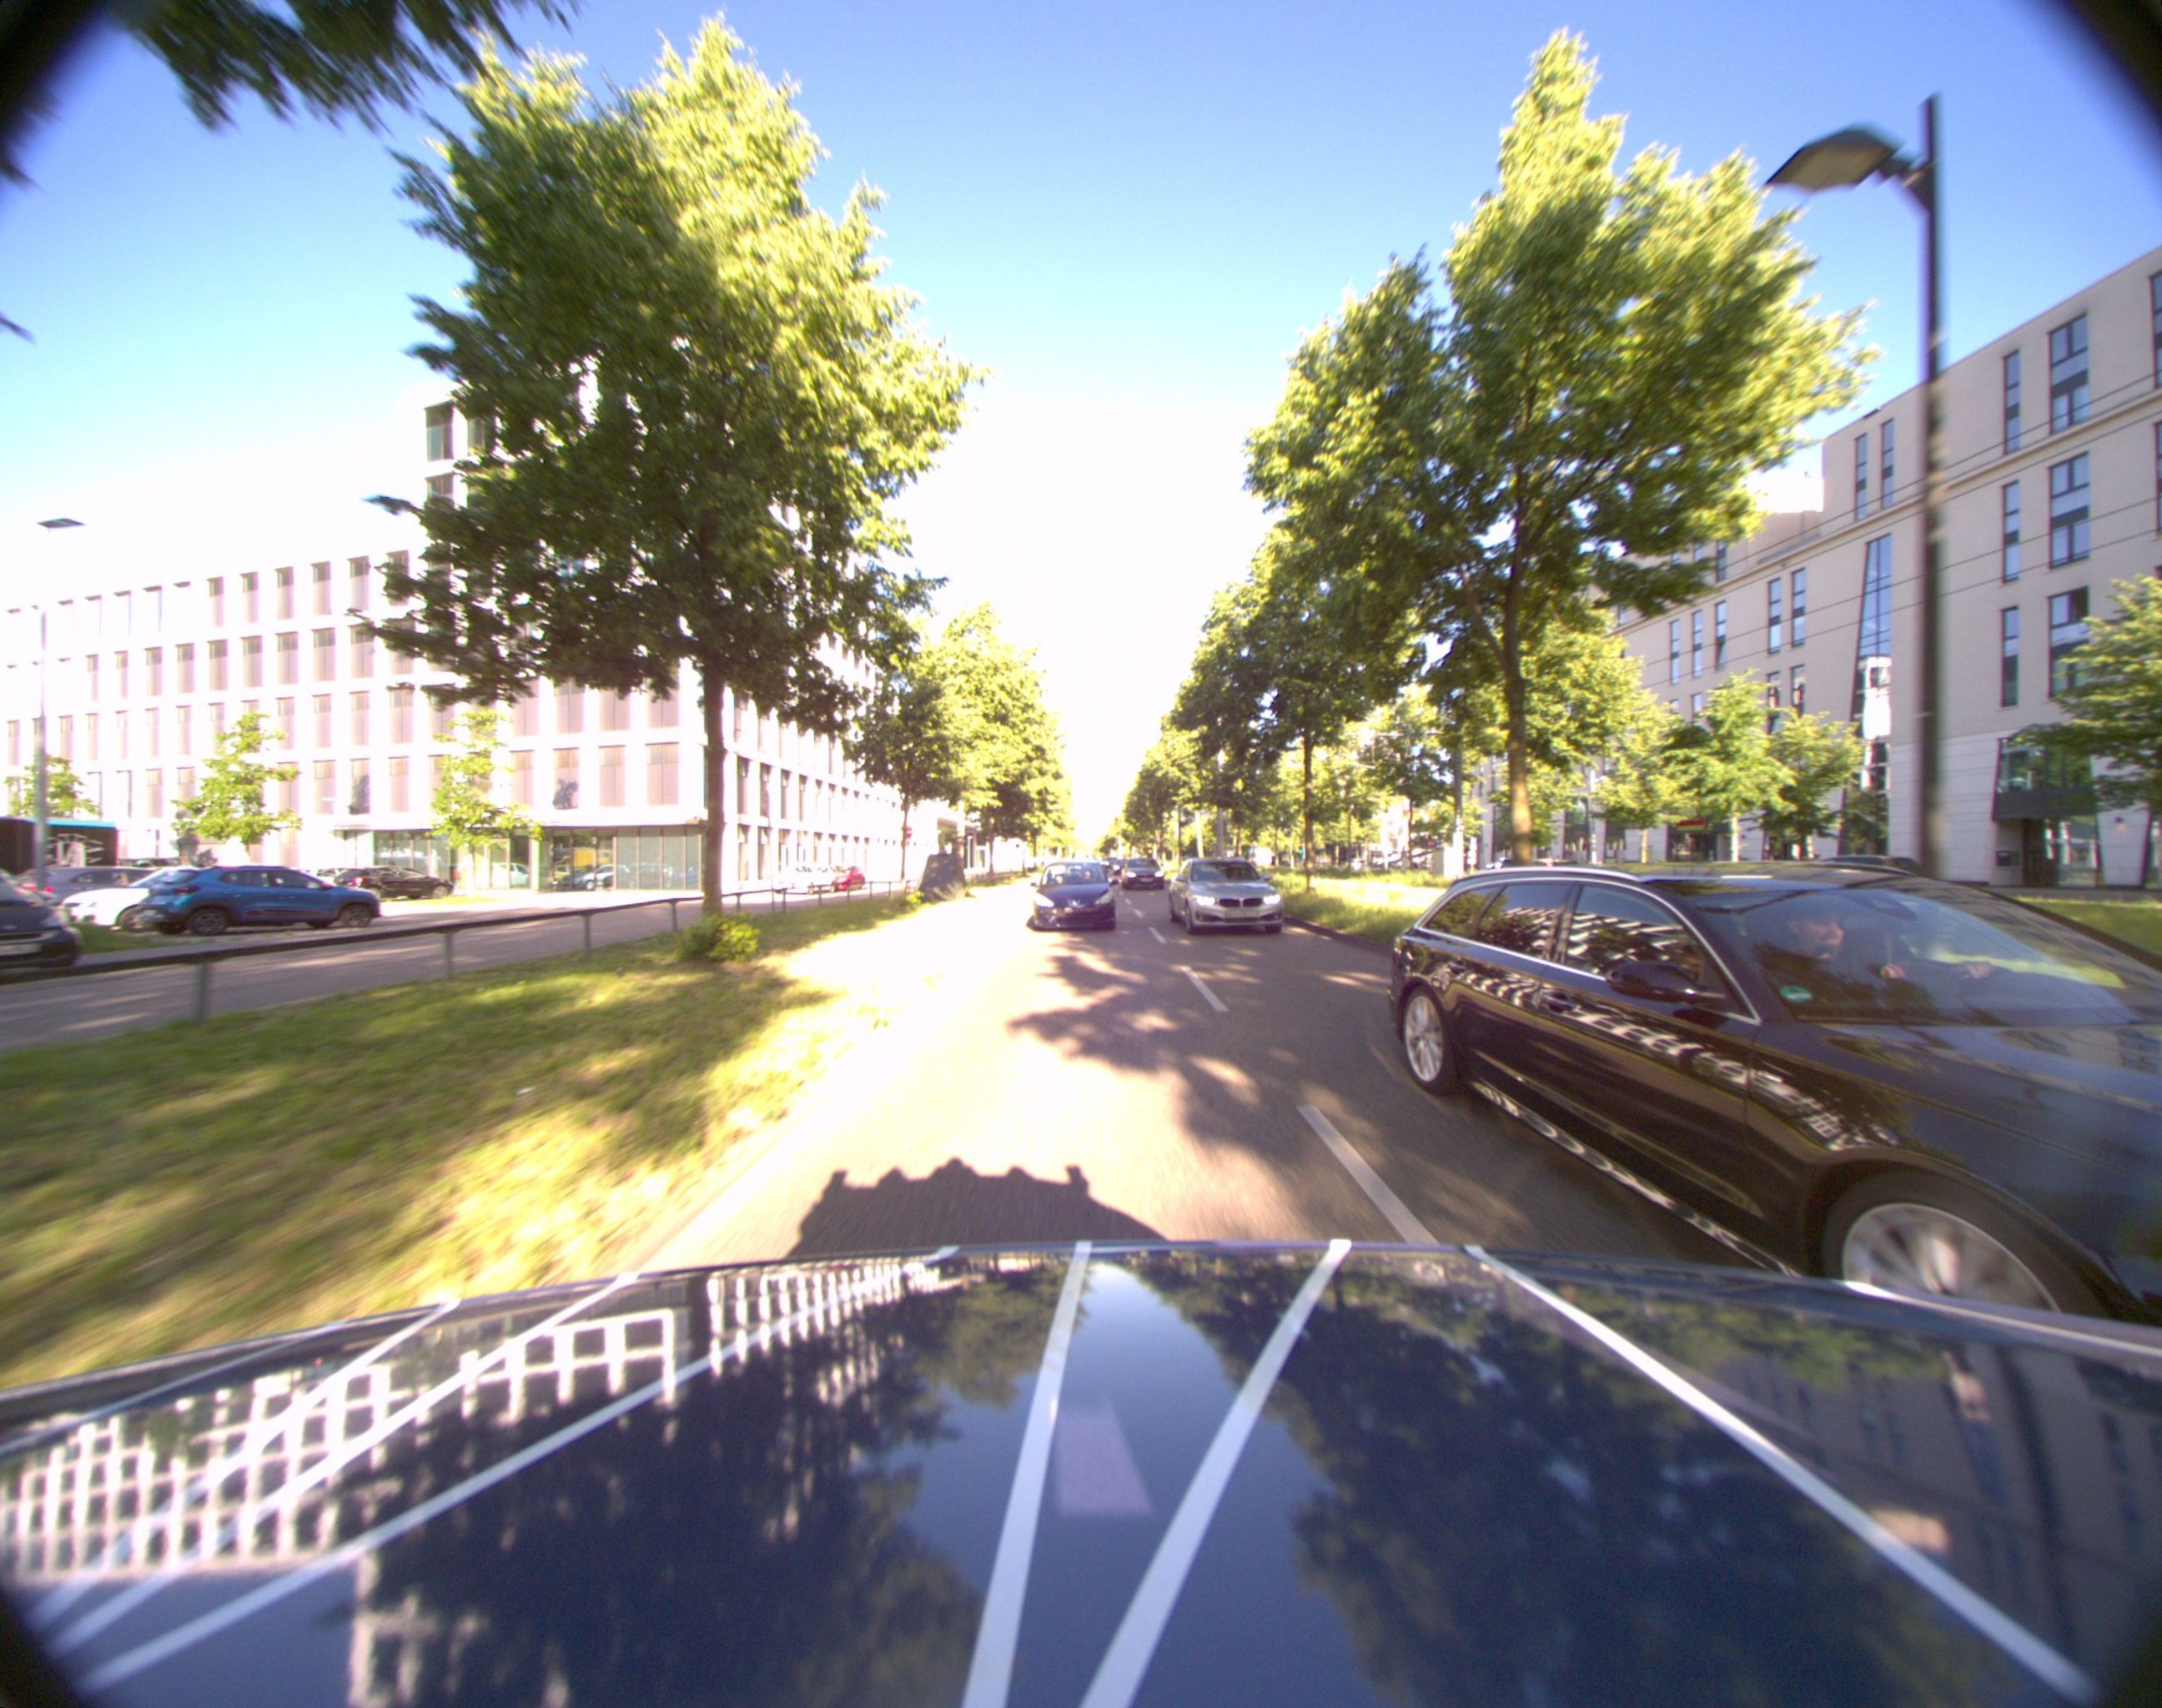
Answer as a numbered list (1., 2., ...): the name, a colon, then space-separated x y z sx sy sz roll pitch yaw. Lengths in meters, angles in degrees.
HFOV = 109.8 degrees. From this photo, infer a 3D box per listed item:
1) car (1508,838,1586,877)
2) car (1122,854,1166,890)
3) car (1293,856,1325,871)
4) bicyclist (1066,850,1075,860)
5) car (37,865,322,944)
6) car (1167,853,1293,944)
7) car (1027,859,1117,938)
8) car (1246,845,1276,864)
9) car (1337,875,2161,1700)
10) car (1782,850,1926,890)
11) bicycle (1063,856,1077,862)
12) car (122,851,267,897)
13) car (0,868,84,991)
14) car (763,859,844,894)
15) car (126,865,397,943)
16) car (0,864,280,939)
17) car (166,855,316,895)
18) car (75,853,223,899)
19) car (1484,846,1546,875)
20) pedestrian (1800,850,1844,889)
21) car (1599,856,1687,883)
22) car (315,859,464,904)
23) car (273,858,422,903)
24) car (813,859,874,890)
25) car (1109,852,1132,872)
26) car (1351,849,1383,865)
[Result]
1. car: 25.678 0.149 42.049 1.998 2.002 4.001 -2 1 4
2. car: 2.993 0.815 36.569 1.950 1.513 4.000 -2 1 3
3. car: 23.983 0.939 80.055 1.999 1.433 4.455 -2 0 -1
4. bicyclist: -1.450 0.123 103.881 1.086 1.315 0.639 0 0 4
5. car: -20.890 1.100 17.845 1.748 1.527 3.886 -2 1 20
6. car: 2.972 0.813 16.069 1.886 1.569 4.277 -2 1 1
7. car: -0.099 0.916 17.262 1.766 1.462 4.000 -2 1 2
8. car: 24.325 0.074 102.948 2.512 2.367 6.027 -2 1 -2
9. car: 2.968 0.865 3.248 1.958 1.471 5.085 -1 -1 -1
10. car: 31.587 0.617 31.248 1.562 1.471 4.271 -1 0 0
11. bicycle: -1.494 0.686 103.880 1.927 0.899 0.647 0 0 4
12. car: -42.639 0.929 36.683 1.996 2.002 4.004 -2 1 17
13. car: -15.285 0.981 10.024 2.770 1.541 1.463 1 1 10
14. car: -13.186 1.028 36.471 1.998 1.477 4.403 2 1 4
15. car: -18.265 1.037 17.192 1.594 1.536 3.826 0 -1 21
16. car: -22.983 1.088 18.786 1.719 1.531 3.956 -2 1 20
17. car: -37.896 0.927 34.426 1.996 1.587 4.004 -2 1 17
18. car: -45.132 1.020 36.916 1.996 2.002 4.004 -2 1 17
19. car: 32.230 0.472 56.578 1.999 2.002 4.553 0 0 -2
20. pedestrian: 34.459 0.707 35.364 0.844 1.733 1.223 -2 1 1
21. car: 32.046 0.848 43.519 1.728 1.405 4.336 0 0 -2
22. car: -28.285 1.083 31.254 1.996 1.565 4.004 -2 1 16
23. car: -30.878 1.082 32.150 1.996 1.674 4.004 -2 1 17
24. car: -12.859 1.081 41.382 1.869 1.477 4.272 2 1 1
25. car: 3.334 0.630 64.994 1.782 1.571 3.783 -2 1 1
26. car: 33.857 0.377 90.043 2.106 1.798 4.420 -2 1 -1
